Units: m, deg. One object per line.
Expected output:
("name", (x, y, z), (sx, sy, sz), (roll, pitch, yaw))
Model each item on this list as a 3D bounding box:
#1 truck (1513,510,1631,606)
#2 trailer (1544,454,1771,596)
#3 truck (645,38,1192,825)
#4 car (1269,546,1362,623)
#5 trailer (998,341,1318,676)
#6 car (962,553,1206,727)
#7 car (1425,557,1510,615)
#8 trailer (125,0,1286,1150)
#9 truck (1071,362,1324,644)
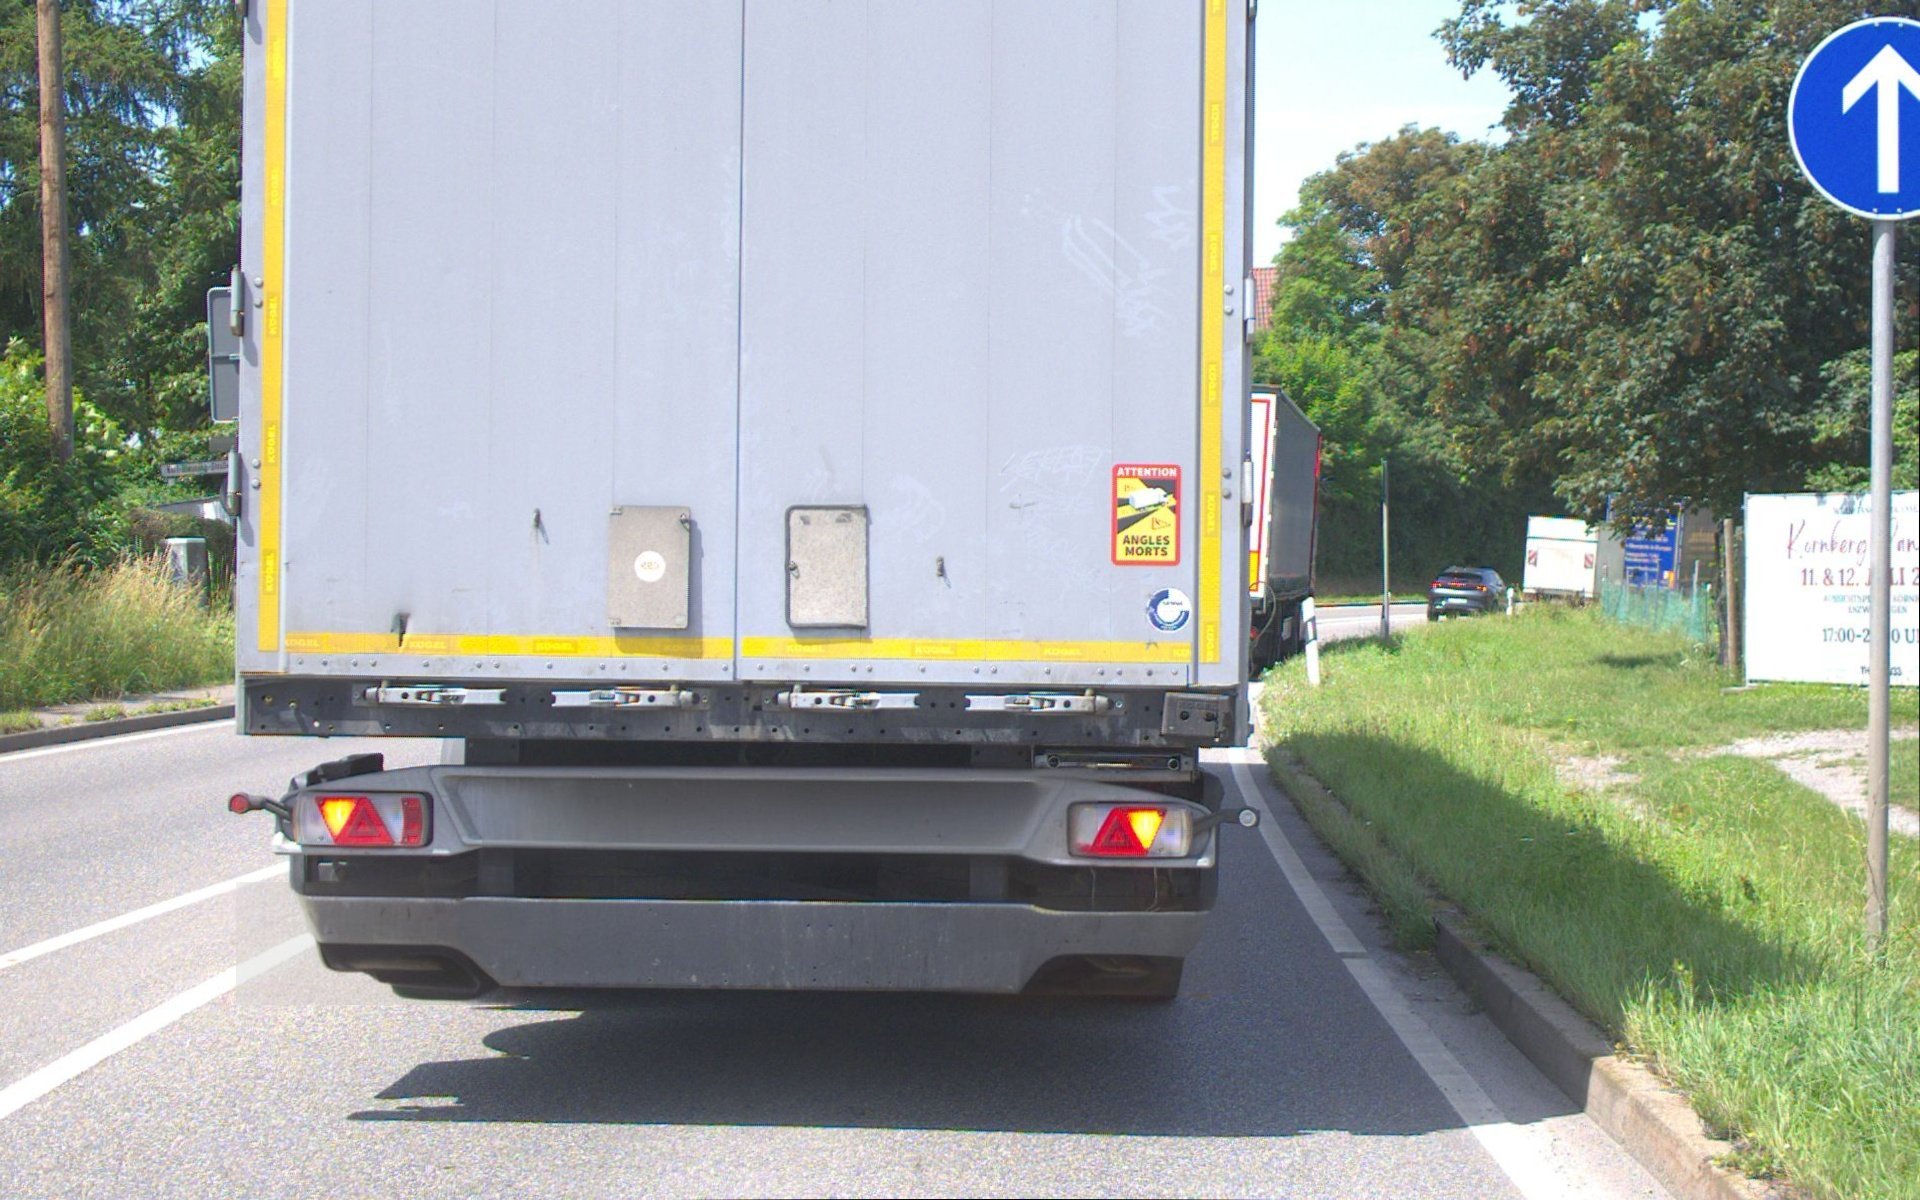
("truck", (18.699, -1.310, 104.839), (2.423, 2.828, 5.406), (1, 2, 23))
("trailer", (24.666, -2.658, 120.576), (5.185, 4.612, 15.879), (1, 2, 21))
("truck", (-0.030, -0.976, 21.338), (2.746, 4.151, 6.142), (1, 1, 5))
("car", (9.042, -0.418, 87.246), (1.994, 1.831, 3.998), (1, 2, 11))
("trailer", (3.311, -1.413, 52.729), (3.892, 4.505, 12.710), (0, 2, 8))
("car", (1.248, 0.330, 32.904), (1.994, 1.525, 3.999), (1, 1, 7))
("car", (13.862, -0.401, 93.729), (1.842, 1.481, 3.997), (0, 1, 15))
("trailer", (-0.367, -0.940, 14.276), (2.787, 4.191, 12.111), (0, 1, 2))
("truck", (4.227, -1.631, 59.478), (3.938, 4.559, 7.150), (0, 1, 7))
